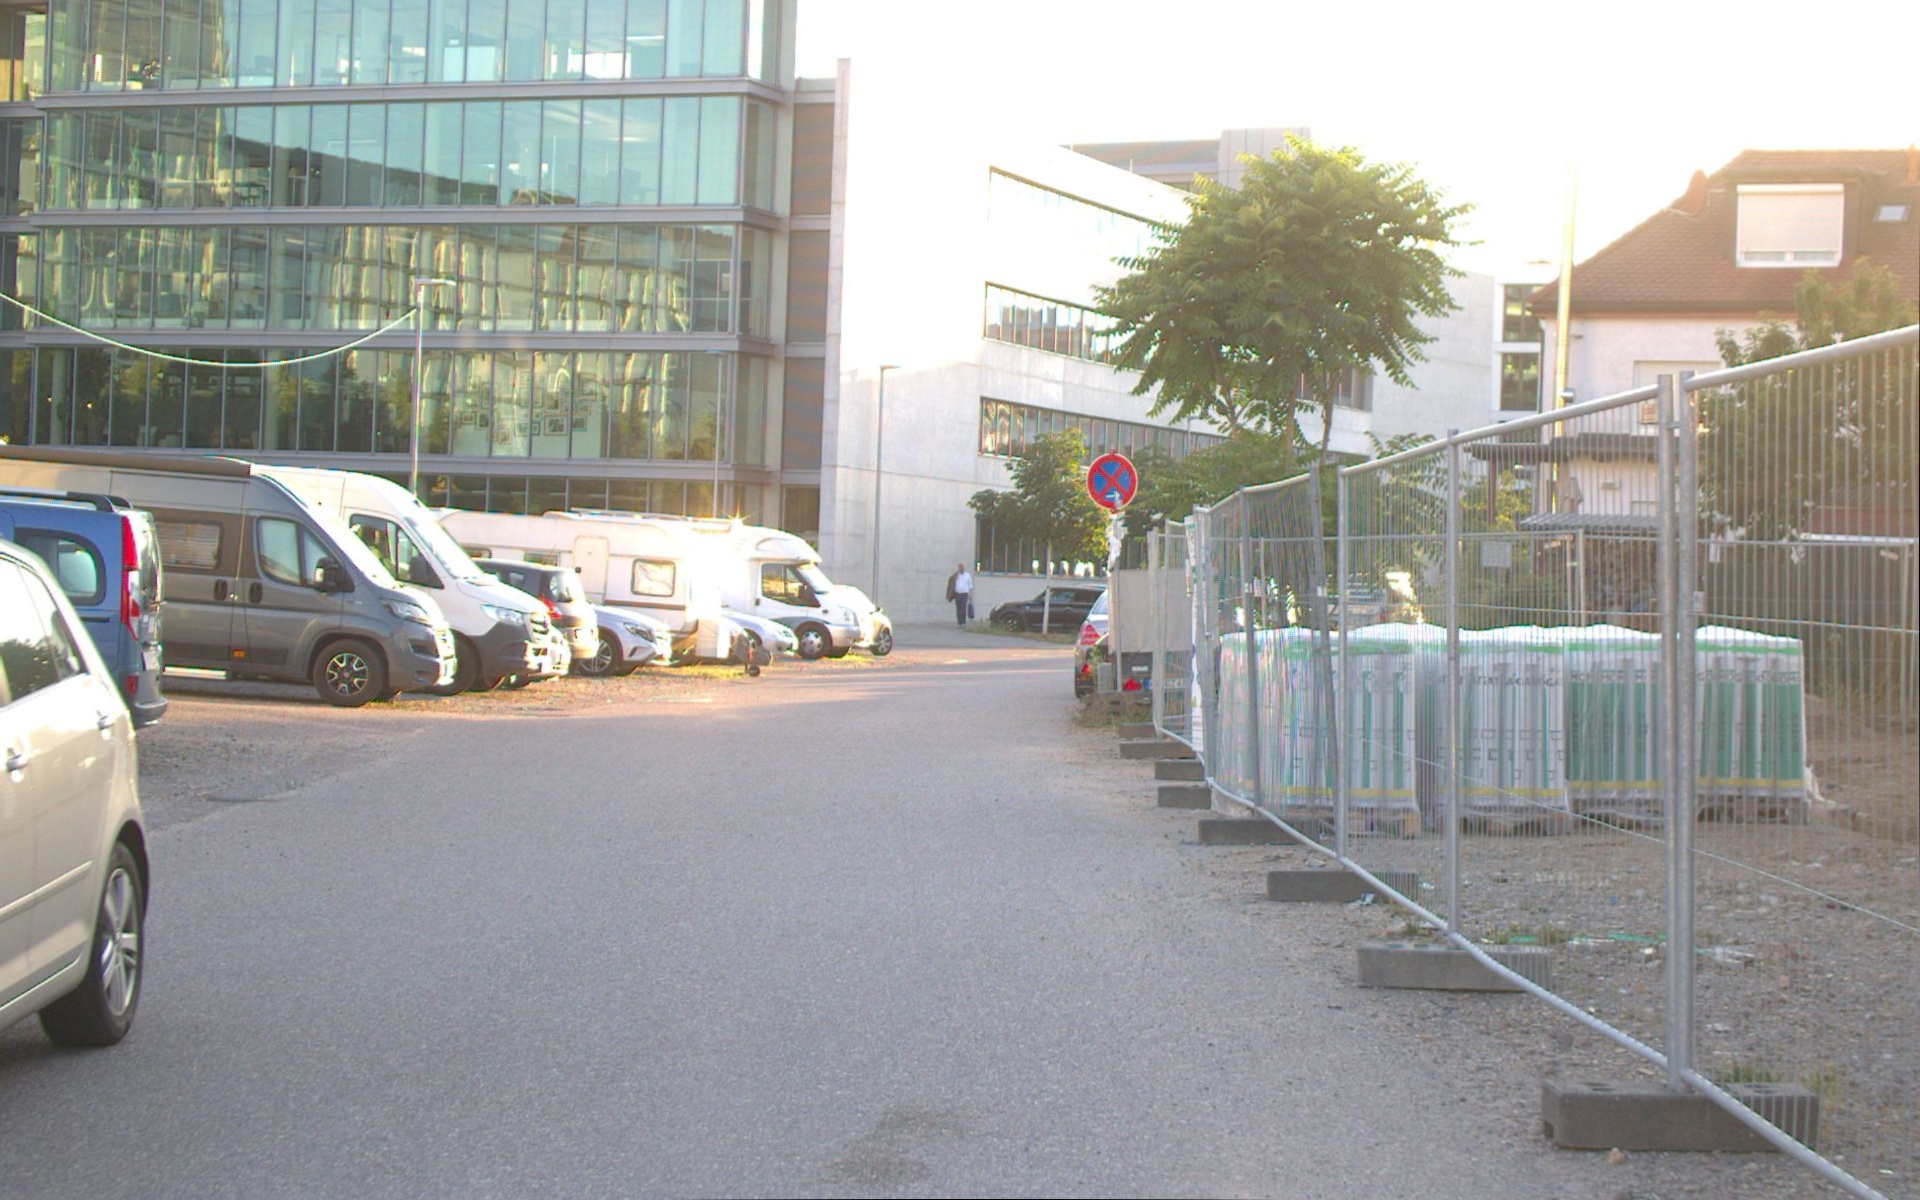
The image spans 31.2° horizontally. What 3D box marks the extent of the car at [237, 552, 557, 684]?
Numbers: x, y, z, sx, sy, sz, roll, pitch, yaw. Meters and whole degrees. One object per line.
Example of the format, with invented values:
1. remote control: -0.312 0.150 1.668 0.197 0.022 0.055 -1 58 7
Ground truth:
1. car: -7.636 0.249 46.829 3.926 1.585 1.748 3 -1 5

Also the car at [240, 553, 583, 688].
1. car: -6.956 0.255 43.820 3.926 1.502 1.789 3 0 6

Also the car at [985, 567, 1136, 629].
1. car: 2.759 -0.070 93.753 3.737 1.477 1.768 3 2 16

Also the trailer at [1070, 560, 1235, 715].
1. trailer: 2.398 0.415 41.912 1.731 1.771 4.936 0 0 6

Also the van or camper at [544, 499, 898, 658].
1. van or camper: -4.881 -0.449 70.538 6.743 2.888 2.407 3 0 11

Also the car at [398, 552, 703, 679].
1. car: -6.146 0.217 51.763 4.129 1.585 1.747 4 1 14

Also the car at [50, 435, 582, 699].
1. car: -7.703 -0.407 41.470 5.826 2.703 2.050 4 1 3

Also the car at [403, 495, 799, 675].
1. car: -5.877 -0.236 56.682 5.891 2.525 2.410 4 -1 12

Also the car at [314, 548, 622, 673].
1. car: -7.017 0.140 49.126 3.928 1.585 1.747 3 1 14

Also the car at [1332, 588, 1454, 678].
1. car: 10.661 0.782 84.396 2.067 2.088 4.868 1 1 18

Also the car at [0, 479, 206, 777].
1. car: -7.283 0.079 23.486 3.924 1.905 1.749 4 1 -8

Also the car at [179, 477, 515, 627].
1. car: -12.432 -0.976 69.807 6.247 2.664 2.221 3 1 16

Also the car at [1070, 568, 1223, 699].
1. car: 2.642 0.427 47.711 1.806 1.719 4.927 0 0 7

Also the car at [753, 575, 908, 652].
1. car: -2.742 0.318 73.935 1.688 1.514 4.356 3 0 21

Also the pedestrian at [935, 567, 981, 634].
1. pedestrian: -0.058 0.023 95.702 0.899 1.844 0.856 1 1 -37

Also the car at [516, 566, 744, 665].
1. car: -5.759 0.253 60.205 3.629 1.514 1.705 3 1 7

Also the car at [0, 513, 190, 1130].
1. car: -3.317 0.550 8.882 1.670 1.614 4.285 2 0 0

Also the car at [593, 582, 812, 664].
1. car: -4.862 0.421 65.205 3.809 1.324 1.692 3 1 9

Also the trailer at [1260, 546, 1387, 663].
1. trailer: 7.292 0.061 68.541 2.065 2.204 5.220 1 1 11

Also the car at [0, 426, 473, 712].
1. car: -8.698 -0.369 37.399 6.387 2.704 2.113 4 -1 -2

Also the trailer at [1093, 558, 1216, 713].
1. trailer: 2.136 0.375 38.188 1.250 1.659 2.803 0 0 1
